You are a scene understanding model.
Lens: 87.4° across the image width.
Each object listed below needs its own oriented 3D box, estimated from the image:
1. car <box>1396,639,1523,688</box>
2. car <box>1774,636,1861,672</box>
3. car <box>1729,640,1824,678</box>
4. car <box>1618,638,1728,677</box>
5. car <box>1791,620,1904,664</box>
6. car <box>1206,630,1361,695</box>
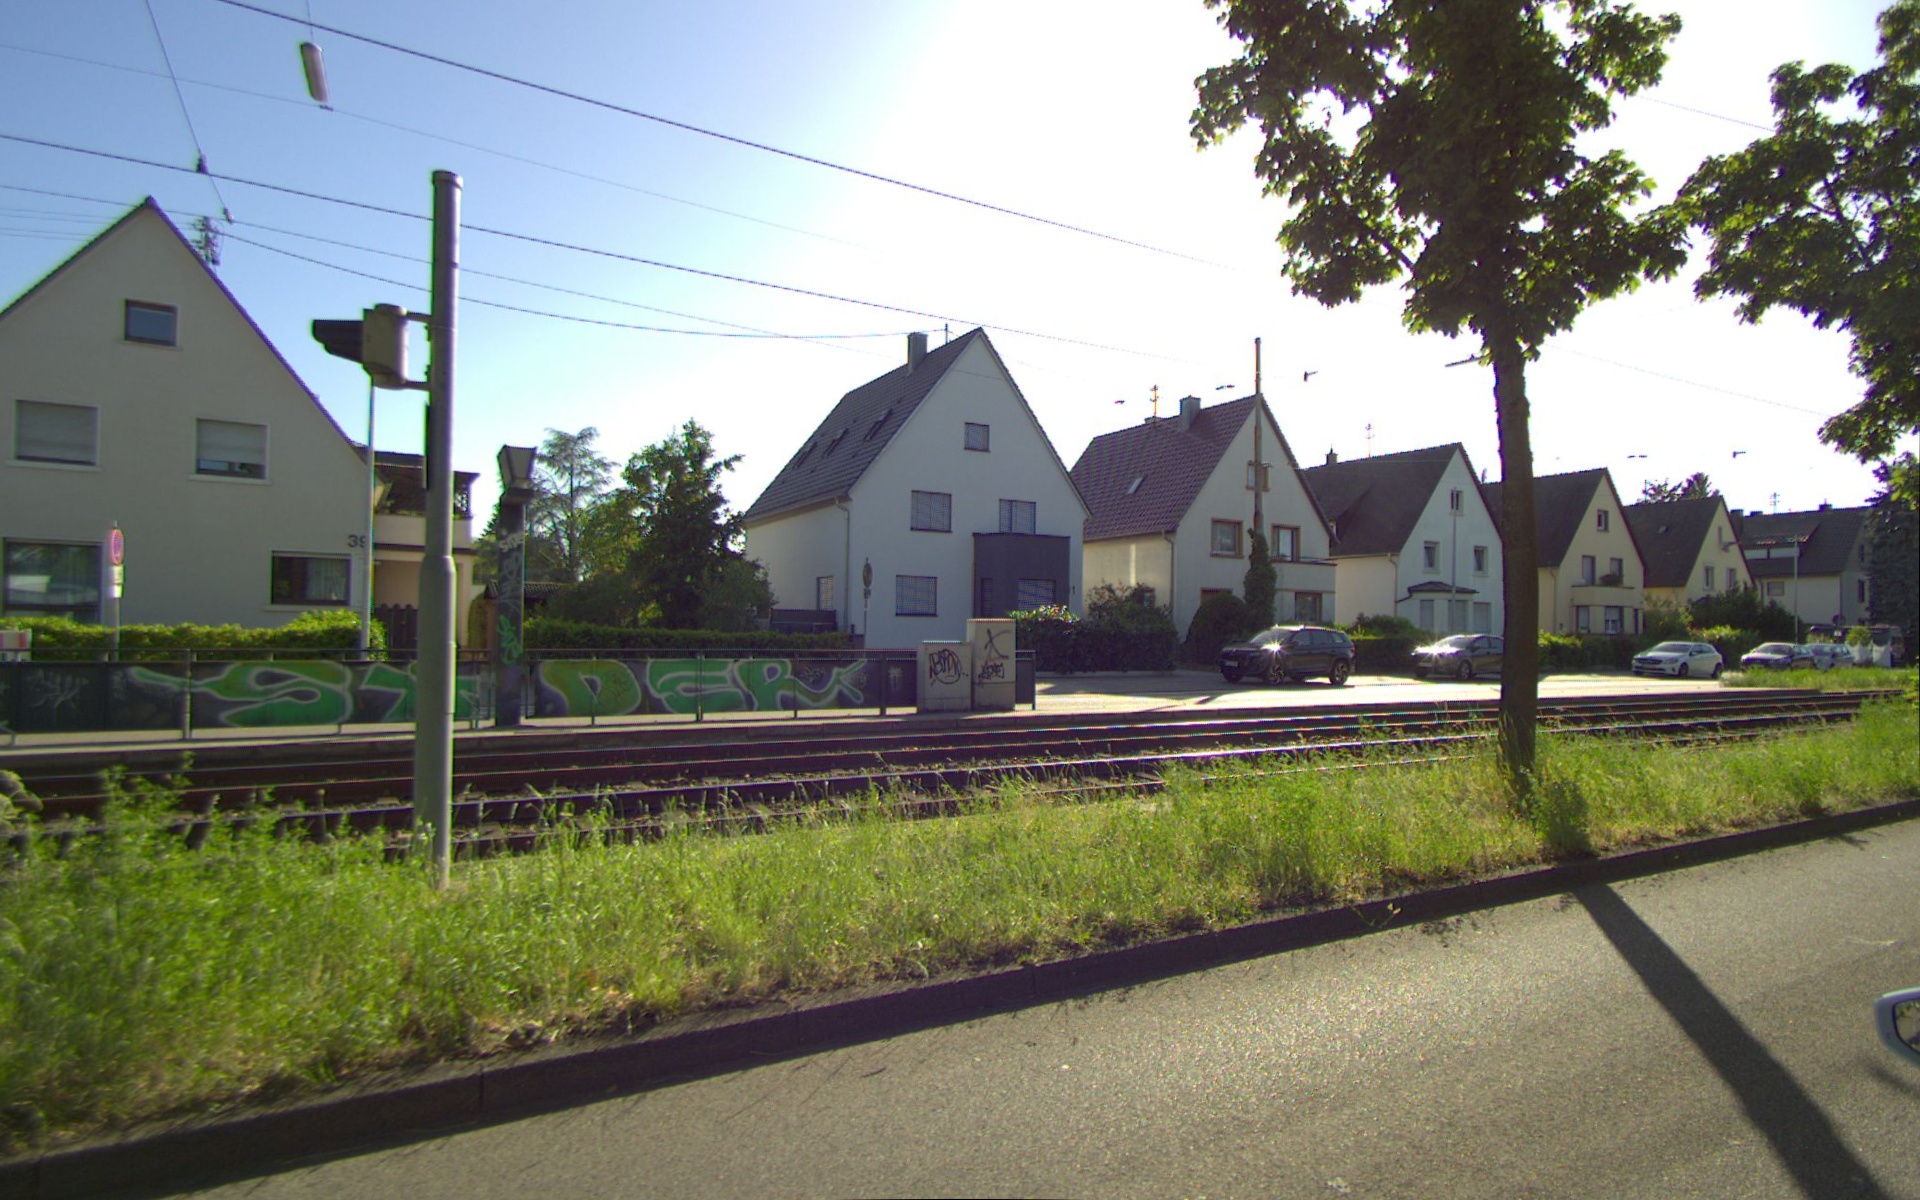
[{"bbox_3d":[17.154,2.160,34.477,4.206,1.514,1.917,2,-1,-30],"label":"car"},{"bbox_3d":[41.089,2.575,48.120,4.009,1.574,1.937,2,-1,-30],"label":"car"},{"bbox_3d":[36.973,2.660,45.472,4.080,1.469,1.984,2,1,-30],"label":"car"},{"bbox_3d":[29.368,2.368,41.341,4.356,1.445,1.985,2,-1,-29],"label":"car"},{"bbox_3d":[56.225,2.606,63.761,2.077,2.660,5.006,1,-1,-29],"label":"car"},{"bbox_3d":[9.579,1.819,29.718,4.340,1.736,1.984,2,-1,-30],"label":"car"}]
